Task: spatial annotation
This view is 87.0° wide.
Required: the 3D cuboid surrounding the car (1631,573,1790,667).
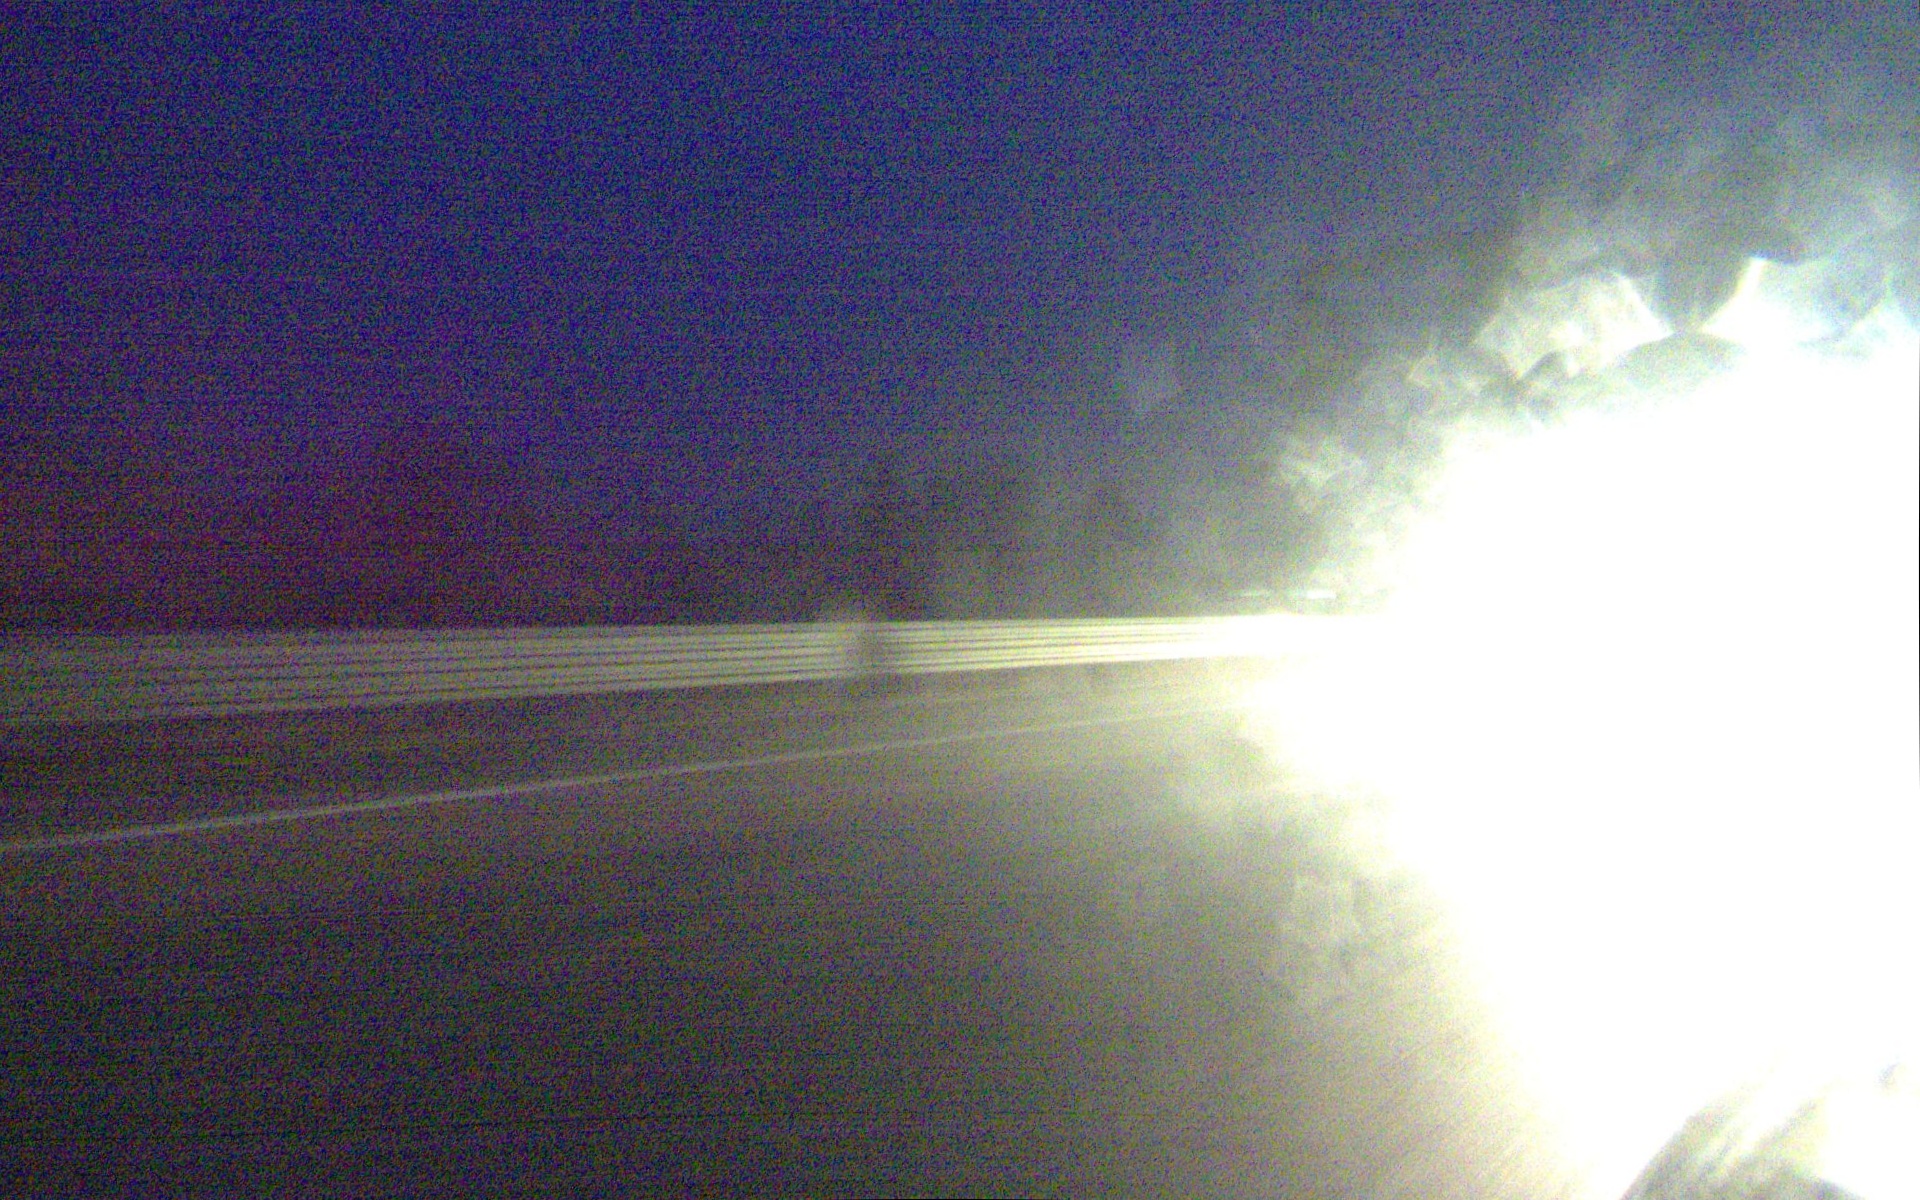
[{"bbox_3d":[16.567,0.415,22.265,4.615,1.870,1.830,1,-1,-41],"label":"car"}]
